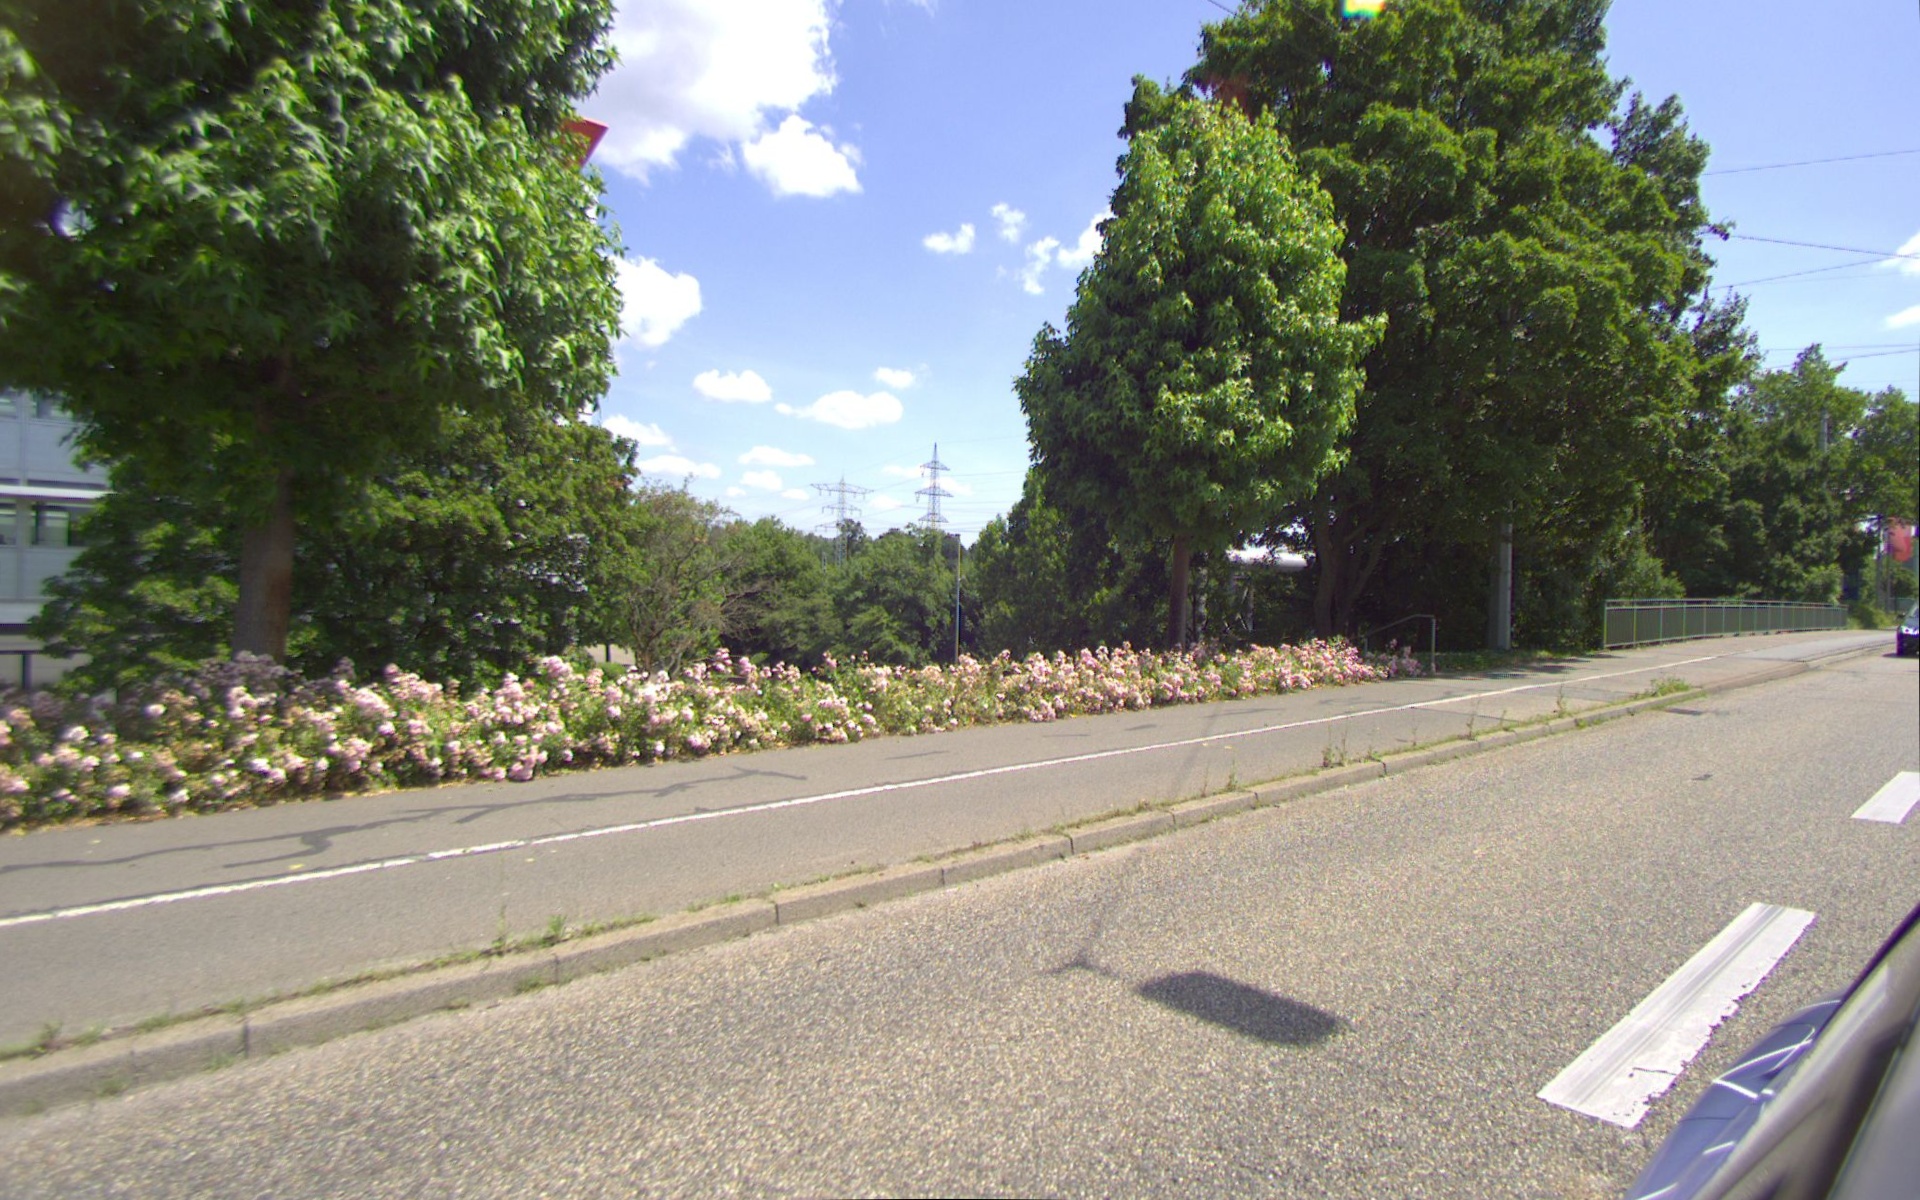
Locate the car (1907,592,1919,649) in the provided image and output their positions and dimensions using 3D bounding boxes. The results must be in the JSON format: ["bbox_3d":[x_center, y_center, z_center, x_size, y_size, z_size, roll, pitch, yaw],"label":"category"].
[{"bbox_3d":[26.337,0.554,26.591,3.930,1.448,1.770,1,0,-41],"label":"car"}]

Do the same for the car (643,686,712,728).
[{"bbox_3d":[-11.852,4.443,42.319,1.565,1.360,3.372,0,0,-39],"label":"car"}]

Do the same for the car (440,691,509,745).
[{"bbox_3d":[-17.630,4.228,36.674,1.517,1.536,3.372,0,0,-39],"label":"car"}]

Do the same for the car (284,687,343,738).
[{"bbox_3d":[-21.737,3.736,33.989,1.431,1.302,3.374,0,0,-36],"label":"car"}]
